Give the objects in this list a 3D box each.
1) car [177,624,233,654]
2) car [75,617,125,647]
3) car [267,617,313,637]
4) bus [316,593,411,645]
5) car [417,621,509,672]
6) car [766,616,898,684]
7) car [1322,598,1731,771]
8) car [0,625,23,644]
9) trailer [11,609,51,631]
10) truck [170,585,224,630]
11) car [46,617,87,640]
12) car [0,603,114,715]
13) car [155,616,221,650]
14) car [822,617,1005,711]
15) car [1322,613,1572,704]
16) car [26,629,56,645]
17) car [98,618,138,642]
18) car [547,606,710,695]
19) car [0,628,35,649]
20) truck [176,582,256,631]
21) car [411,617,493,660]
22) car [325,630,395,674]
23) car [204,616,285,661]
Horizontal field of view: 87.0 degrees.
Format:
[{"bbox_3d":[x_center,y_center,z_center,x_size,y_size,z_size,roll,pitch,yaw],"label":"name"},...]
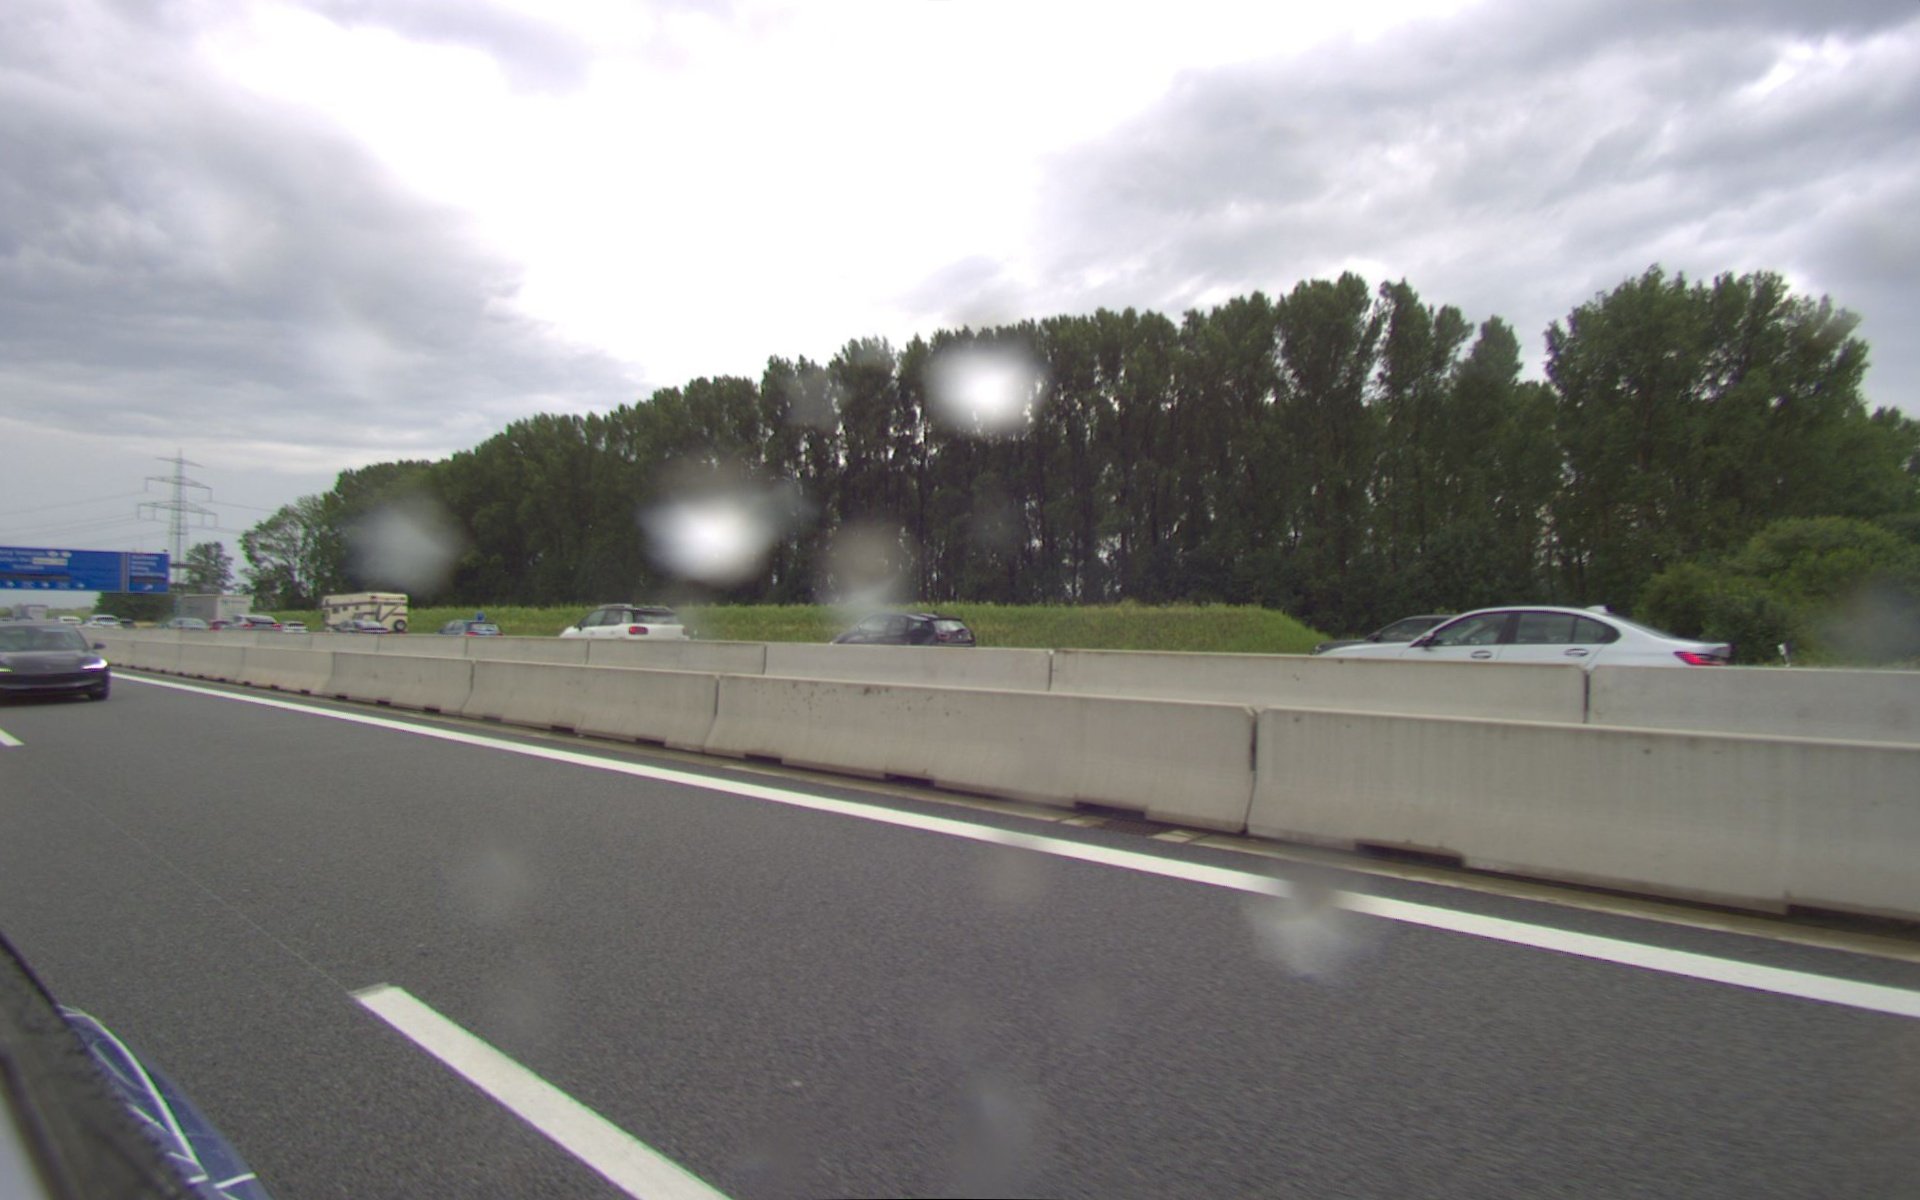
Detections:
[{"bbox_3d":[-49.075,2.532,65.730,4.636,1.842,1.973,-1,-1,41],"label":"car"},{"bbox_3d":[-60.520,2.232,71.195,4.761,2.029,1.973,-1,-1,41],"label":"car"},{"bbox_3d":[-55.046,2.206,83.163,4.397,1.630,1.974,-1,-1,40],"label":"car"},{"bbox_3d":[-41.308,1.297,69.878,9.960,3.358,2.801,-1,-1,42],"label":"bus"},{"bbox_3d":[-21.047,1.929,42.794,4.533,2.029,1.831,-1,-1,40],"label":"car"},{"bbox_3d":[-4.213,1.569,32.858,4.226,2.029,1.972,-1,-1,42],"label":"car"},{"bbox_3d":[6.683,0.880,12.188,3.999,1.732,1.785,-1,-1,42],"label":"car"},{"bbox_3d":[-103.458,3.729,109.809,5.182,1.900,1.973,-1,-1,40],"label":"car"},{"bbox_3d":[-156.418,3.431,170.286,14.440,3.534,3.078,-1,-1,40],"label":"trailer"},{"bbox_3d":[-75.663,0.822,100.310,5.908,4.314,3.086,-1,-2,41],"label":"truck"},{"bbox_3d":[-74.695,2.418,84.577,5.075,1.867,1.973,-2,-2,41],"label":"car"},{"bbox_3d":[-17.303,1.008,18.681,5.162,1.834,1.972,-1,-1,43],"label":"car"},{"bbox_3d":[-44.119,1.859,57.807,4.631,1.869,1.974,-1,-1,40],"label":"car"},{"bbox_3d":[-1.174,1.437,24.282,4.226,2.029,1.972,-1,-1,42],"label":"car"},{"bbox_3d":[9.138,1.044,19.174,3.998,1.533,1.599,-1,-1,41],"label":"car"},{"bbox_3d":[-102.680,4.091,113.048,5.075,1.717,1.973,-2,-2,41],"label":"car"},{"bbox_3d":[-73.831,2.618,88.707,4.635,1.948,1.973,-1,-1,41],"label":"car"},{"bbox_3d":[-8.289,1.185,25.130,4.262,2.029,1.973,-1,-1,41],"label":"car"},{"bbox_3d":[-89.250,3.593,95.740,5.183,1.912,1.973,-1,-1,41],"label":"car"},{"bbox_3d":[-70.606,0.666,95.866,13.943,4.345,3.115,-1,-1,41],"label":"truck"},{"bbox_3d":[-25.792,1.926,51.310,4.805,2.029,1.973,-1,-1,40],"label":"car"},{"bbox_3d":[-29.639,2.515,49.988,3.997,2.029,1.786,-1,-1,40],"label":"car"},{"bbox_3d":[-34.408,1.830,48.635,5.178,2.029,1.973,-1,-1,40],"label":"car"}]
